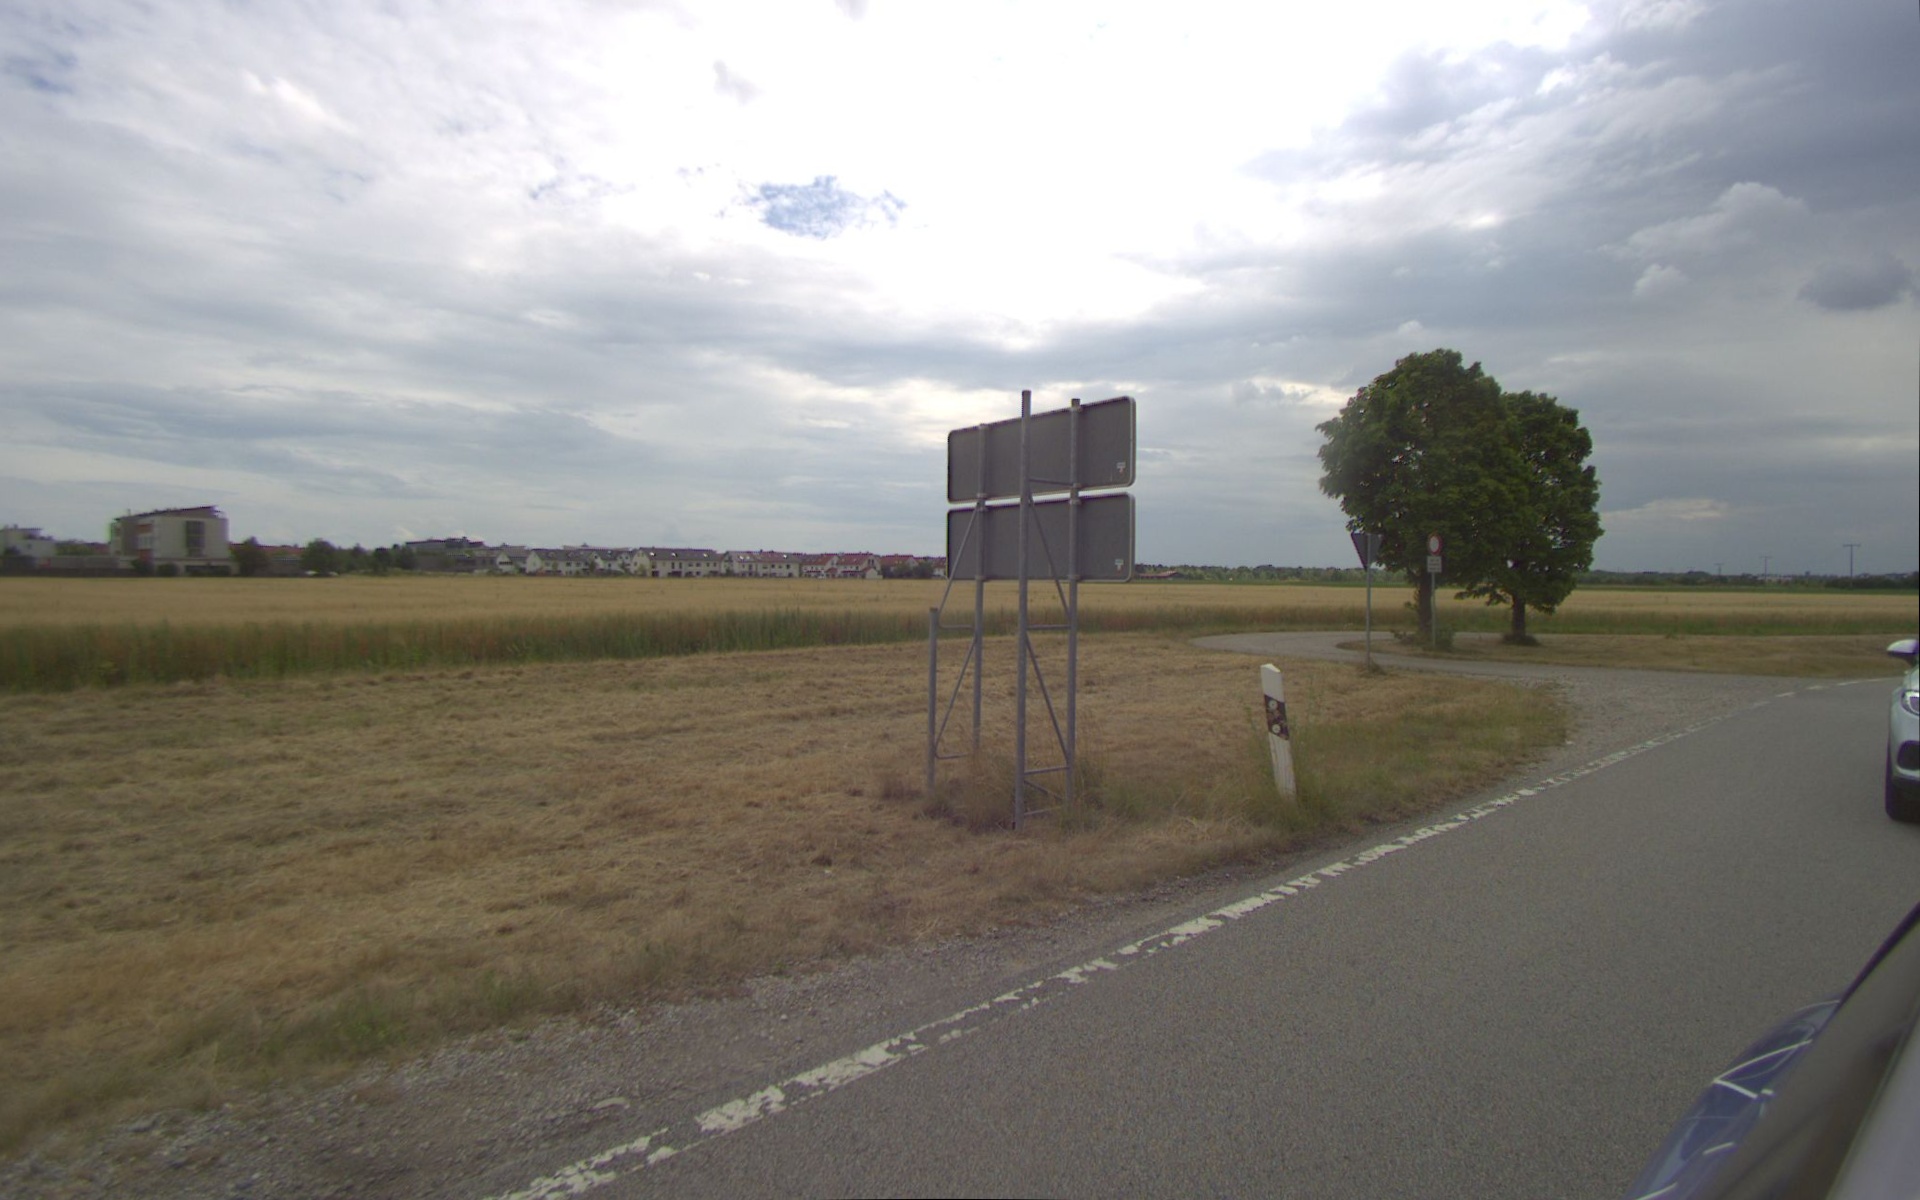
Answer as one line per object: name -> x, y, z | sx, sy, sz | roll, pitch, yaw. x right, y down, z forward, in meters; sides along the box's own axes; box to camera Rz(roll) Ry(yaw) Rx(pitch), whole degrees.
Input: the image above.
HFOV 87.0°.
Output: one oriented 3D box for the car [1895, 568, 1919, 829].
car -> 8.058, 0.641, 7.112 | 4.375, 1.606, 1.834 | 0, 2, -43
